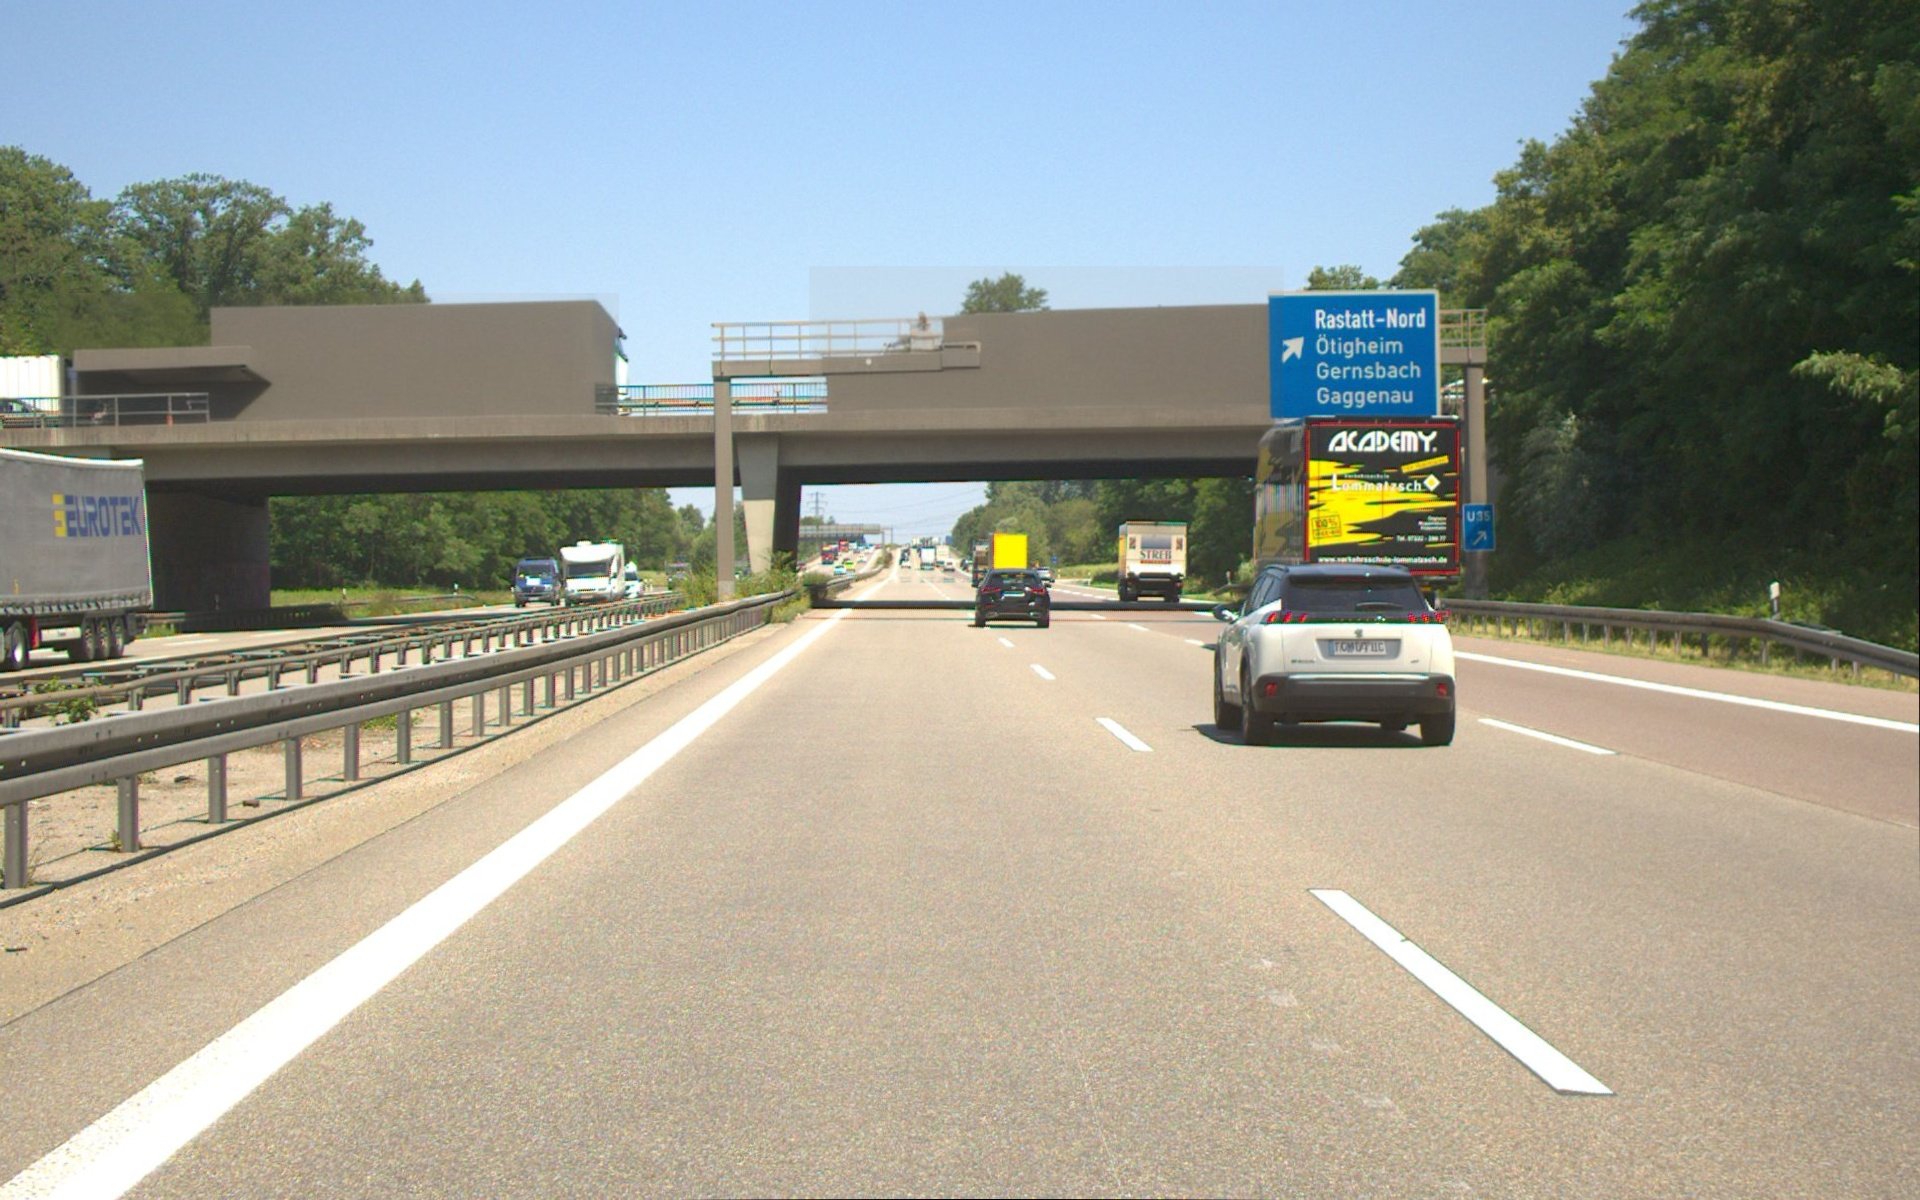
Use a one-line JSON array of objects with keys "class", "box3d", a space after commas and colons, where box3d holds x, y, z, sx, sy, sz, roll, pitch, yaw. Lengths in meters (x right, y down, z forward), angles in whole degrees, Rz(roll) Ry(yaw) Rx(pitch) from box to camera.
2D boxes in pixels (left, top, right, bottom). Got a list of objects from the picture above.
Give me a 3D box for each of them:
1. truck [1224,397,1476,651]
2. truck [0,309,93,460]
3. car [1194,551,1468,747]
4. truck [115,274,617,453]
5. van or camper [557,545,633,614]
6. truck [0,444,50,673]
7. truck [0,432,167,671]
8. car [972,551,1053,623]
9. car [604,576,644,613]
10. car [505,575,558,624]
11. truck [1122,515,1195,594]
[{"class": "truck", "box3d": [6.718, -1.273, 60.991, 2.975, 4.023, 10.982, 2, 0, -1]}, {"class": "truck", "box3d": [-41.691, -8.303, 131.049, 16.457, 5.546, 3.175, 1, 0, -8]}, {"class": "car", "box3d": [3.205, 0.386, 30.589, 1.827, 1.602, 4.809, 0, 0, -1]}, {"class": "truck", "box3d": [-19.925, -7.937, 116.235, 16.458, 5.546, 3.175, 1, 0, -5]}, {"class": "van or camper", "box3d": [-15.849, -0.892, 149.659, 2.592, 2.897, 7.234, 1, 0, -1]}, {"class": "truck", "box3d": [-18.398, -0.669, 60.380, 2.969, 4.048, 6.459, -3, 0, -1]}, {"class": "truck", "box3d": [-18.645, -0.839, 67.571, 3.066, 4.237, 13.962, -3, 0, -2]}, {"class": "car", "box3d": [1.266, -0.318, 83.983, 1.827, 1.700, 4.000, 1, 0, -1]}, {"class": "car", "box3d": [-16.846, -0.277, 172.448, 1.690, 1.809, 4.714, 1, 0, -2]}, {"class": "car", "box3d": [-21.367, -0.031, 171.562, 2.089, 2.391, 5.735, 1, 0, -2]}, {"class": "truck", "box3d": [8.715, -1.941, 150.531, 3.028, 3.308, 10.769, 1, 0, 3]}]
